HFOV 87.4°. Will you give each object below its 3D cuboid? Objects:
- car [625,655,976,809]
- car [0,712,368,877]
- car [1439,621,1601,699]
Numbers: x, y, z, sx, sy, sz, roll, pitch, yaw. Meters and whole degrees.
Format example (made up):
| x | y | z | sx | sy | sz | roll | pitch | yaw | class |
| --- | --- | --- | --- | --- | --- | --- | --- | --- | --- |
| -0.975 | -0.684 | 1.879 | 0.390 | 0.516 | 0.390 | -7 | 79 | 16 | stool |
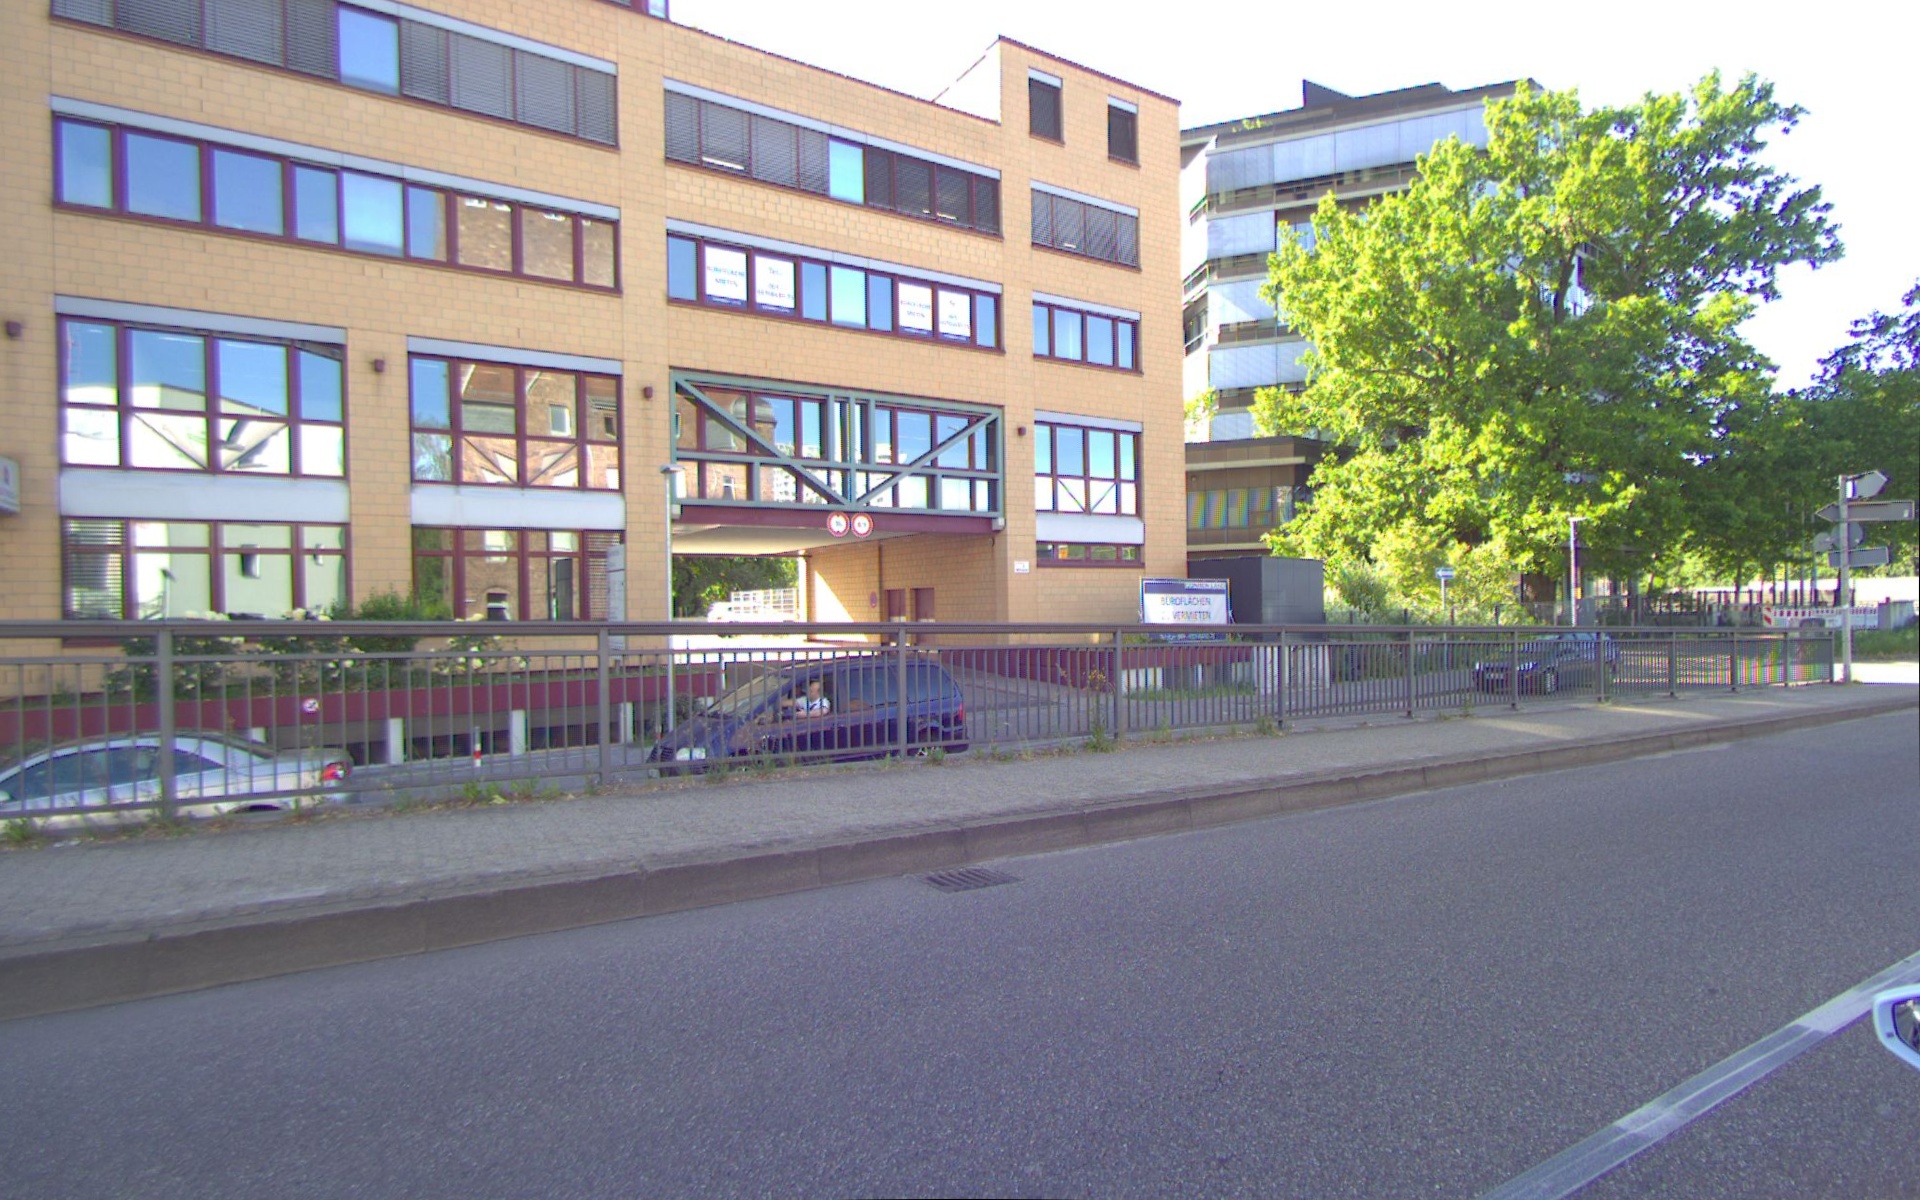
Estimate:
| x | y | z | sx | sy | sz | roll | pitch | yaw | class |
| --- | --- | --- | --- | --- | --- | --- | --- | --- | --- |
| -2.105 | 1.677 | 13.941 | 4.542 | 1.669 | 1.710 | 0 | -2 | -36 | car |
| -8.348 | 1.883 | 9.985 | 4.211 | 1.181 | 1.712 | 0 | -2 | -33 | car |
| 14.061 | 1.439 | 25.202 | 3.954 | 1.715 | 1.842 | -1 | 0 | -31 | car |
